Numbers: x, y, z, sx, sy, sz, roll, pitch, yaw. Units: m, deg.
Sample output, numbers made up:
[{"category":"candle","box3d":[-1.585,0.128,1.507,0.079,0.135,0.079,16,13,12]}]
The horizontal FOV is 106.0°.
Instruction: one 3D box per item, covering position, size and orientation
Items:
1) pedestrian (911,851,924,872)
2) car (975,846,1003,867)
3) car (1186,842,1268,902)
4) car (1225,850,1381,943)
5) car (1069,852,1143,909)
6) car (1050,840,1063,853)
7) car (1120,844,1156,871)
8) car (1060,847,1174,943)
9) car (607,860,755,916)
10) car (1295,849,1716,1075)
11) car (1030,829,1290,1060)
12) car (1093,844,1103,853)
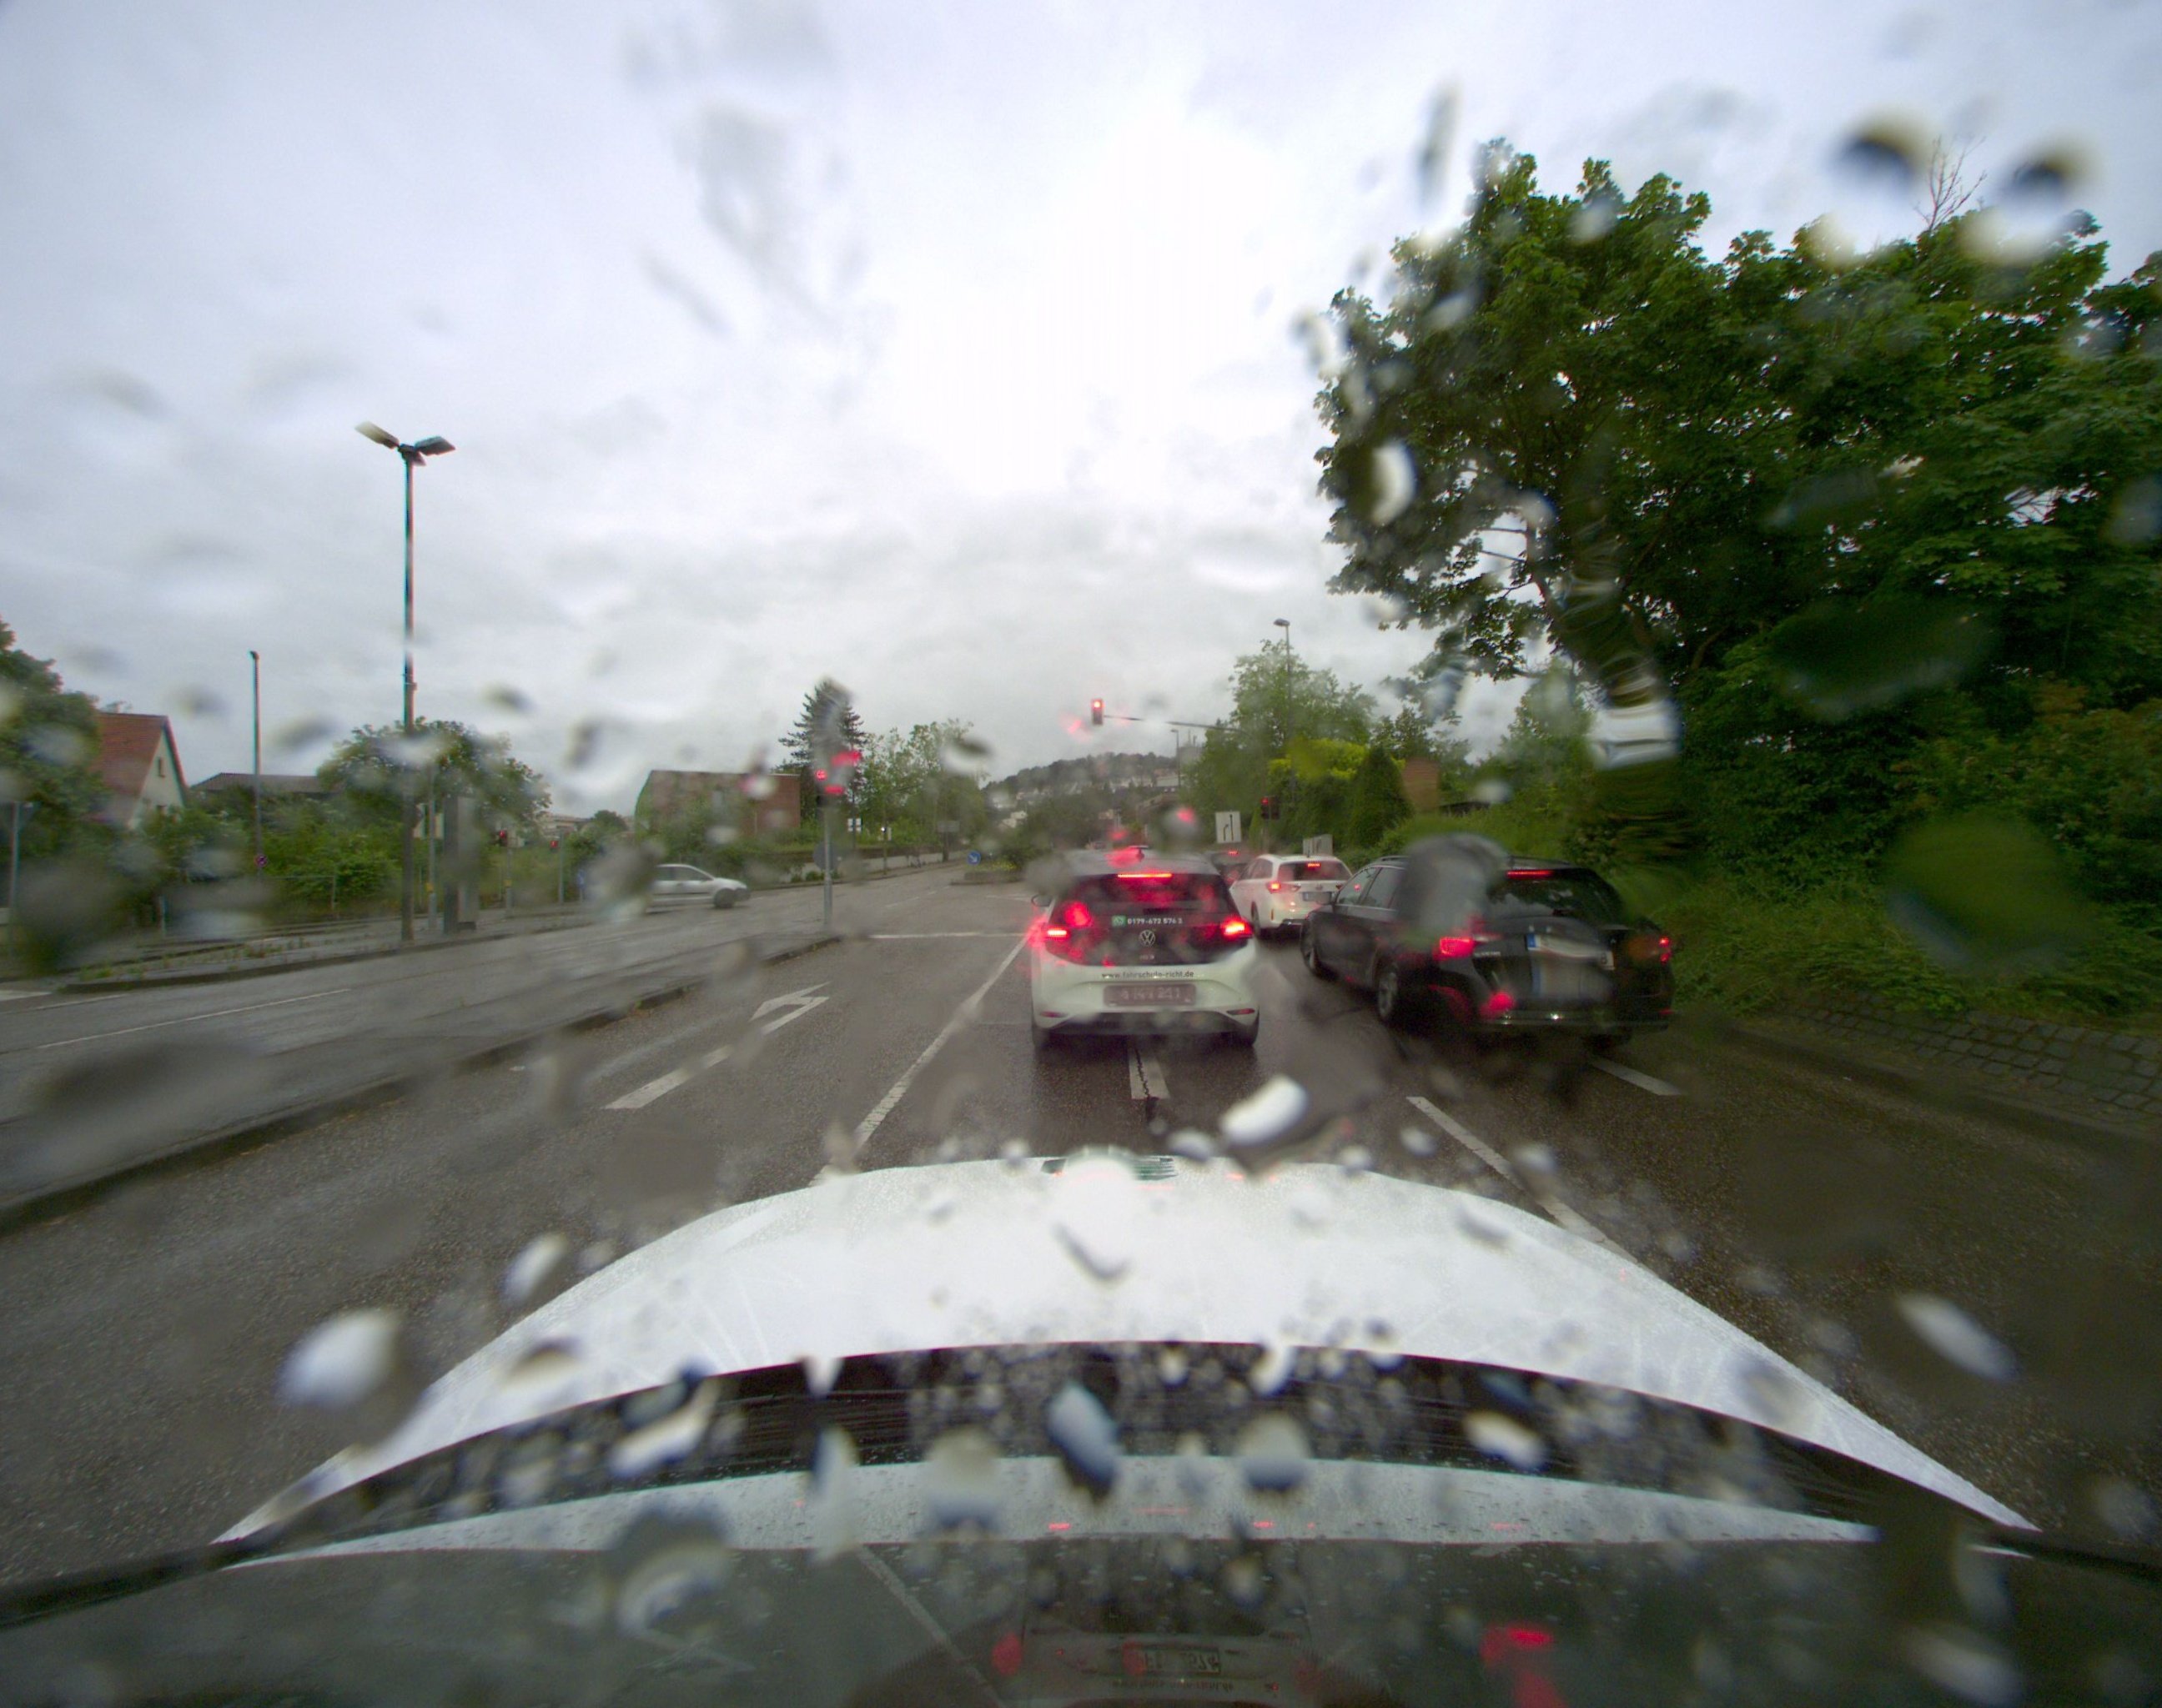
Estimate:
[{"category":"pedestrian","box3d":[-13.041,0.597,64.883,0.757,1.568,0.825,-4,0,1]},{"category":"car","box3d":[-8.714,0.259,77.675,1.986,1.804,4.002,-4,0,2]},{"category":"car","box3d":[4.091,0.488,23.430,1.769,1.581,4.002,0,0,2]},{"category":"car","box3d":[3.892,0.671,14.976,1.831,1.466,4.118,0,0,1]},{"category":"car","box3d":[0.656,0.646,22.085,1.831,1.400,3.832,0,0,1]},{"category":"car","box3d":[-4.163,-1.258,140.455,1.986,2.014,4.002,-1,-1,2]},{"category":"car","box3d":[3.318,0.182,48.084,1.755,1.418,3.748,-3,0,0]},{"category":"car","box3d":[0.630,0.649,15.229,1.831,1.555,4.176,0,0,1]},{"category":"car","box3d":[-12.520,1.023,25.546,4.013,1.467,1.570,-2,-1,-31]},{"category":"car","box3d":[3.343,0.686,7.505,1.830,1.466,4.353,0,0,3]},{"category":"car","box3d":[0.612,0.622,8.055,1.831,1.629,4.617,0,0,1]},{"category":"car","box3d":[3.166,-1.051,155.008,1.769,1.581,4.002,-3,0,2]}]
